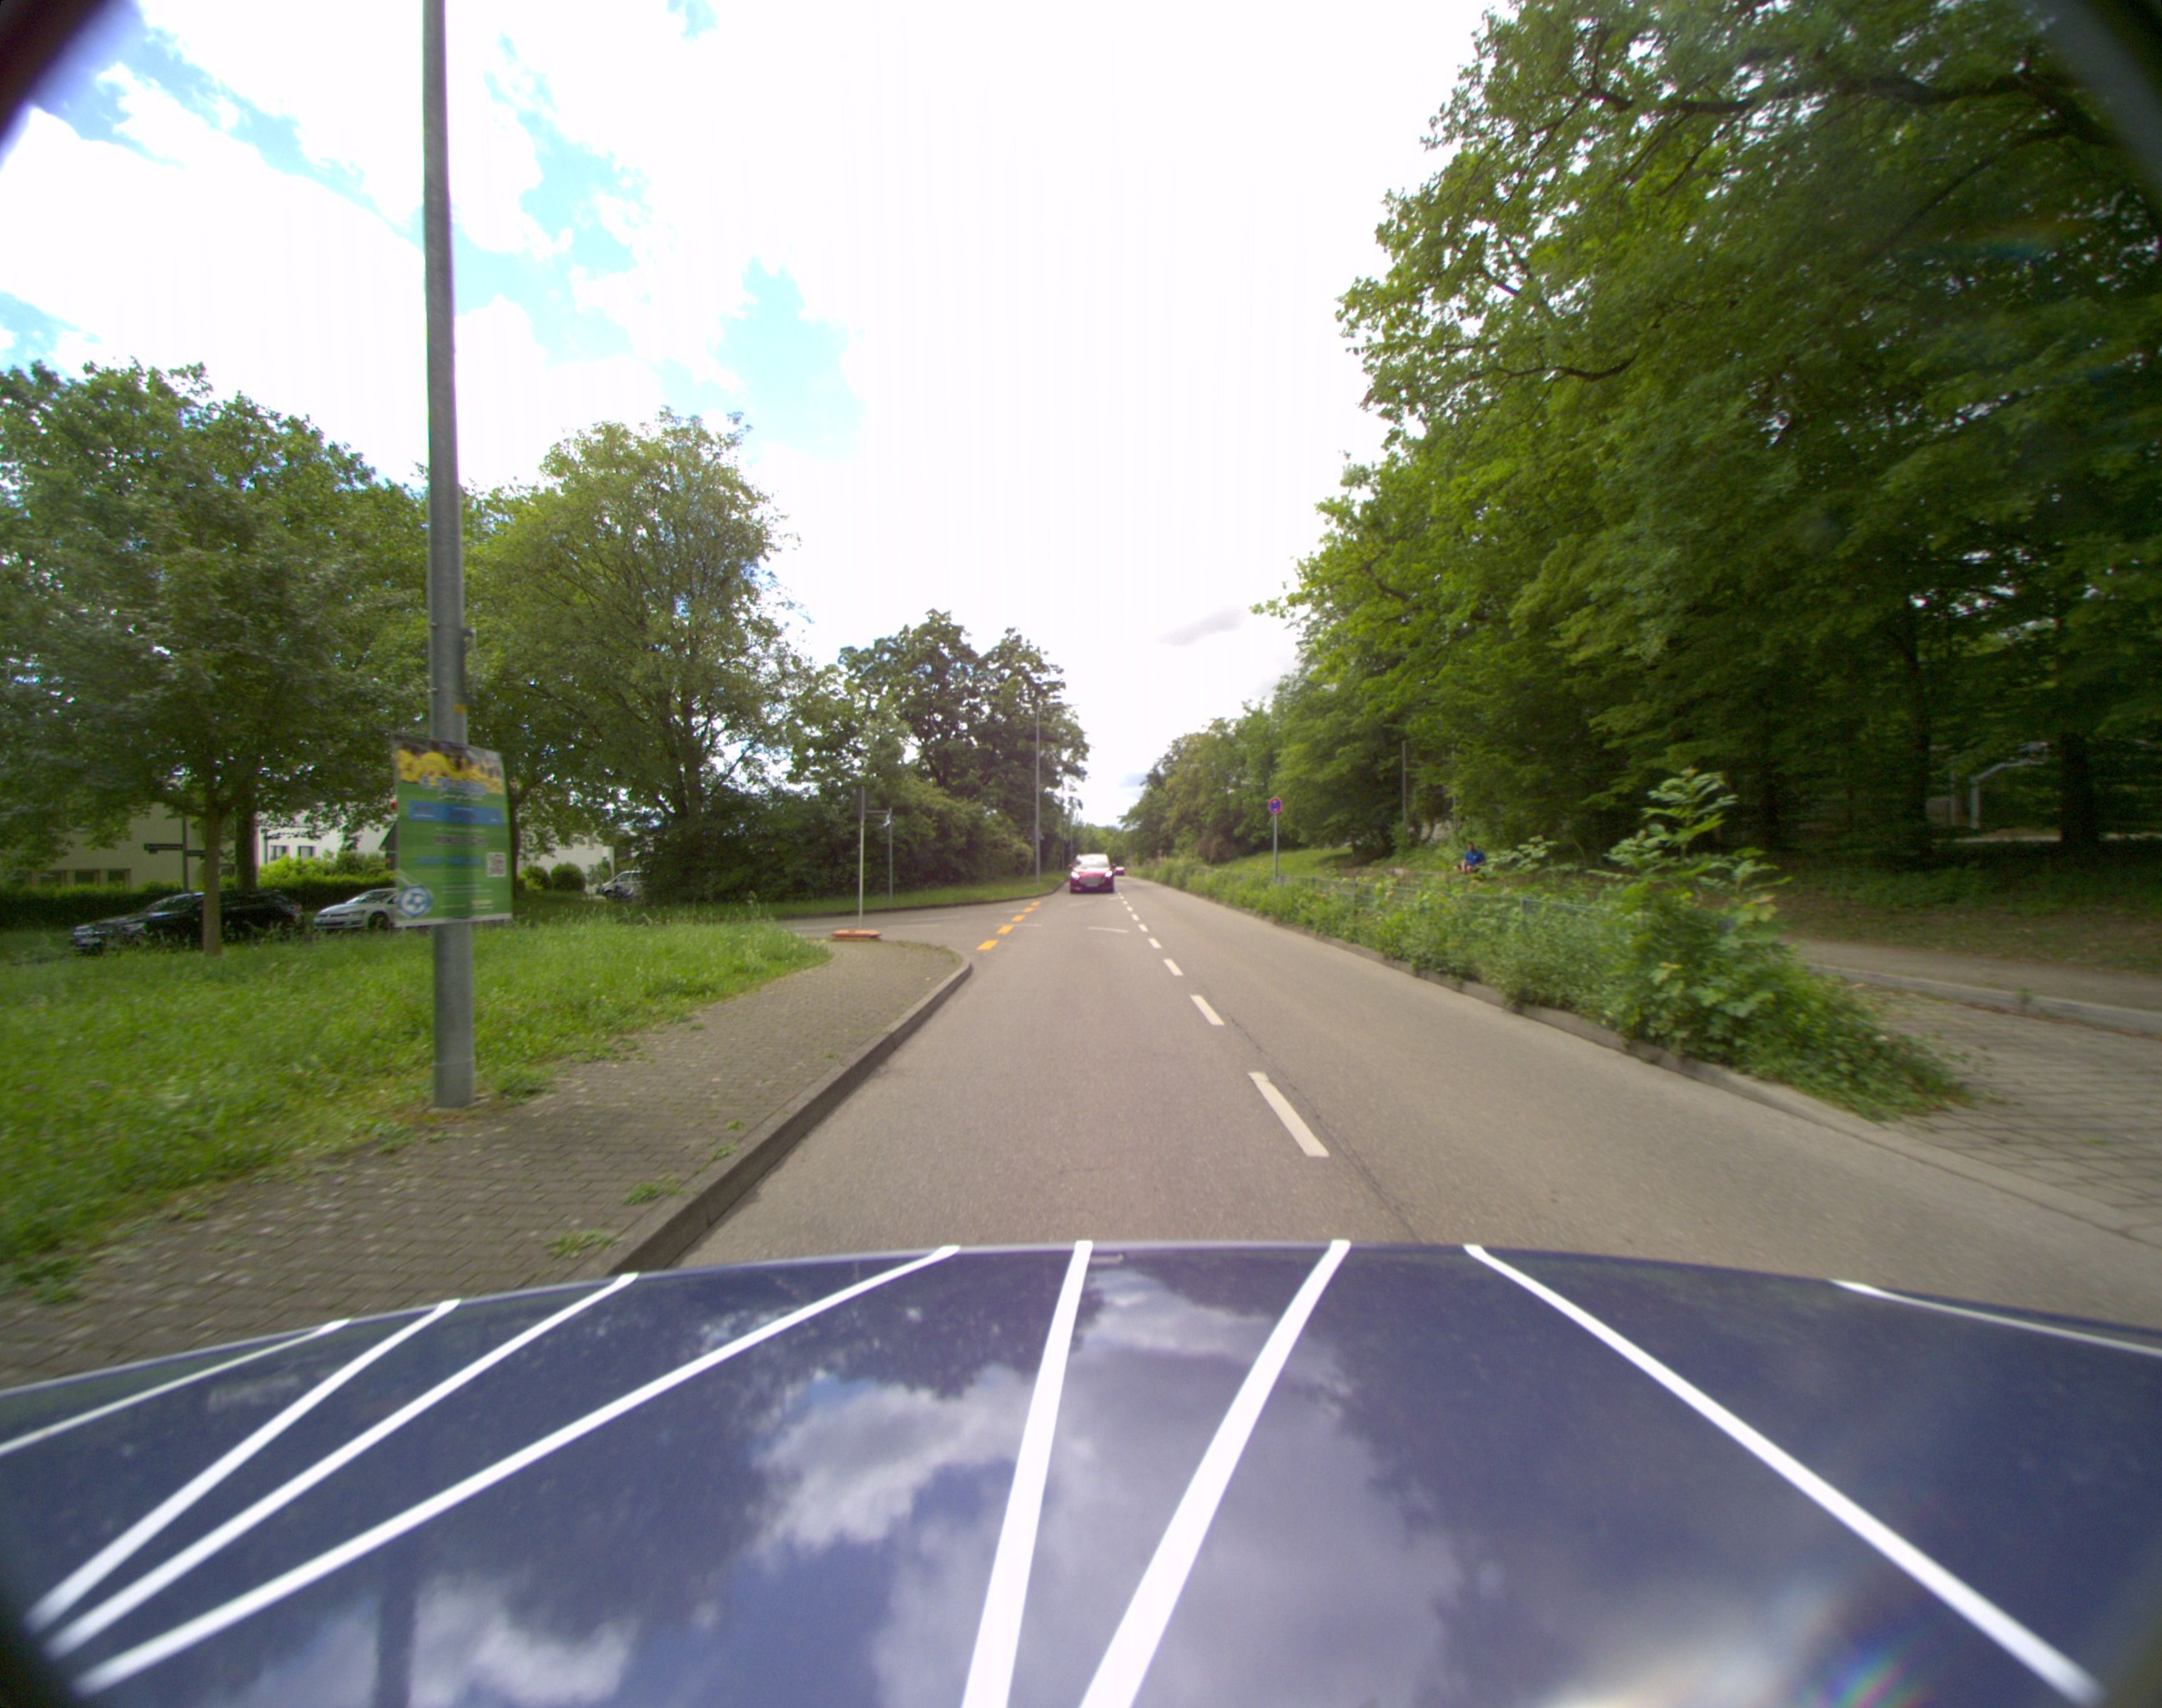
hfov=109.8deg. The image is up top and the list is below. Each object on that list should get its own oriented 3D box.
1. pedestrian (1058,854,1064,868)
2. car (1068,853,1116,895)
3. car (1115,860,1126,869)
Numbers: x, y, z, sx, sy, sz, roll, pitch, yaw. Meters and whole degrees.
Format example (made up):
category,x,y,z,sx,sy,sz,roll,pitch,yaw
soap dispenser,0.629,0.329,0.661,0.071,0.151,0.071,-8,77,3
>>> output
category,x,y,z,sx,sy,sz,roll,pitch,yaw
pedestrian,-2.648,0.867,100.181,0.675,1.825,0.605,-1,0,-6
car,0.527,0.798,32.677,1.861,1.608,4.477,-3,0,2
car,5.973,1.531,115.519,1.620,1.324,4.001,0,-1,1
